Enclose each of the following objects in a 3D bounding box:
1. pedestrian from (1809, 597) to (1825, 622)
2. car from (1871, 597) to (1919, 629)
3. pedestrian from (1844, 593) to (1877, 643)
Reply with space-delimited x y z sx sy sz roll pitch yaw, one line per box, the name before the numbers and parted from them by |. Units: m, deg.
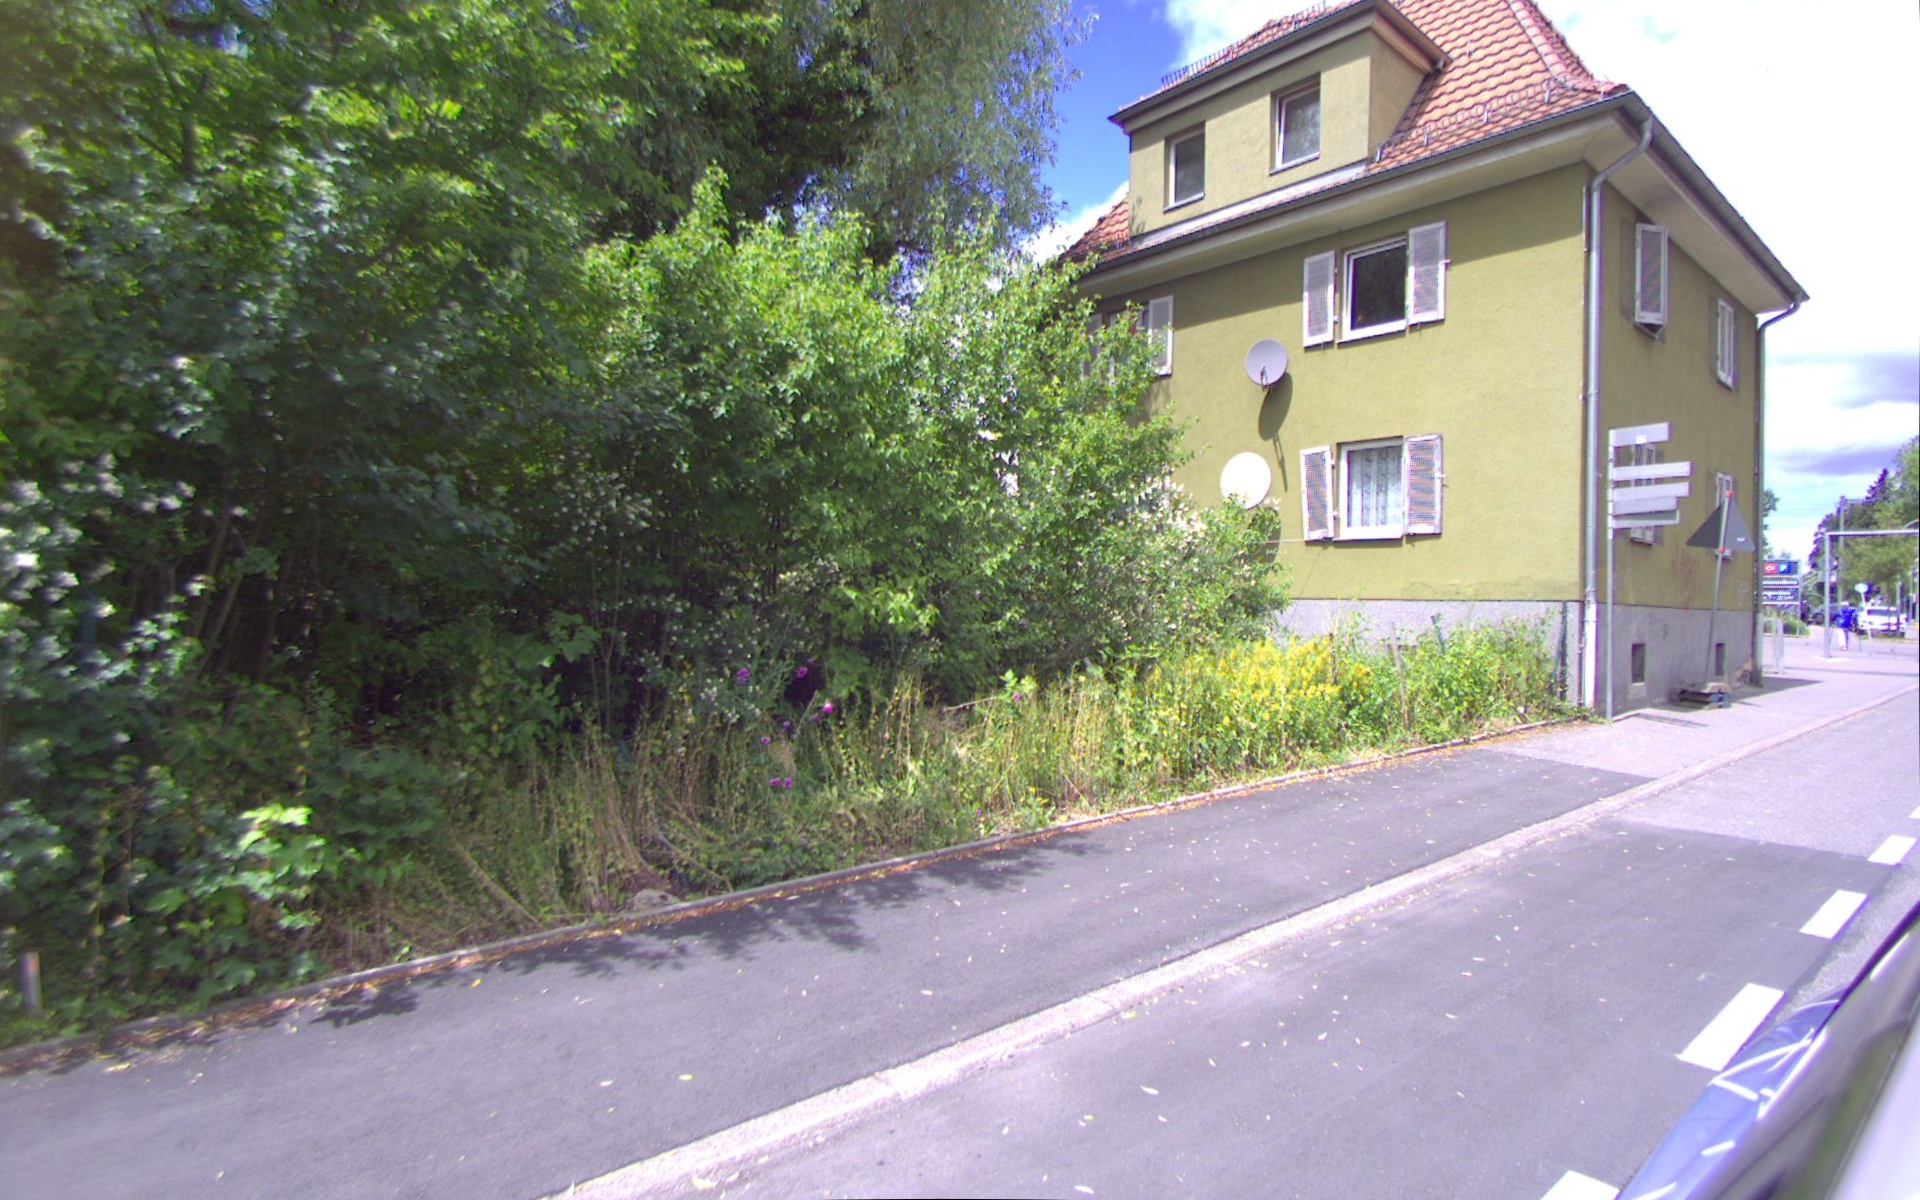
pedestrian | 58.495 0.638 69.101 0.765 1.683 0.721 1 -3 -45
car | 47.638 0.647 51.289 3.931 1.529 1.797 0 1 -42
pedestrian | 28.482 0.559 32.015 0.726 1.572 1.042 1 0 39
